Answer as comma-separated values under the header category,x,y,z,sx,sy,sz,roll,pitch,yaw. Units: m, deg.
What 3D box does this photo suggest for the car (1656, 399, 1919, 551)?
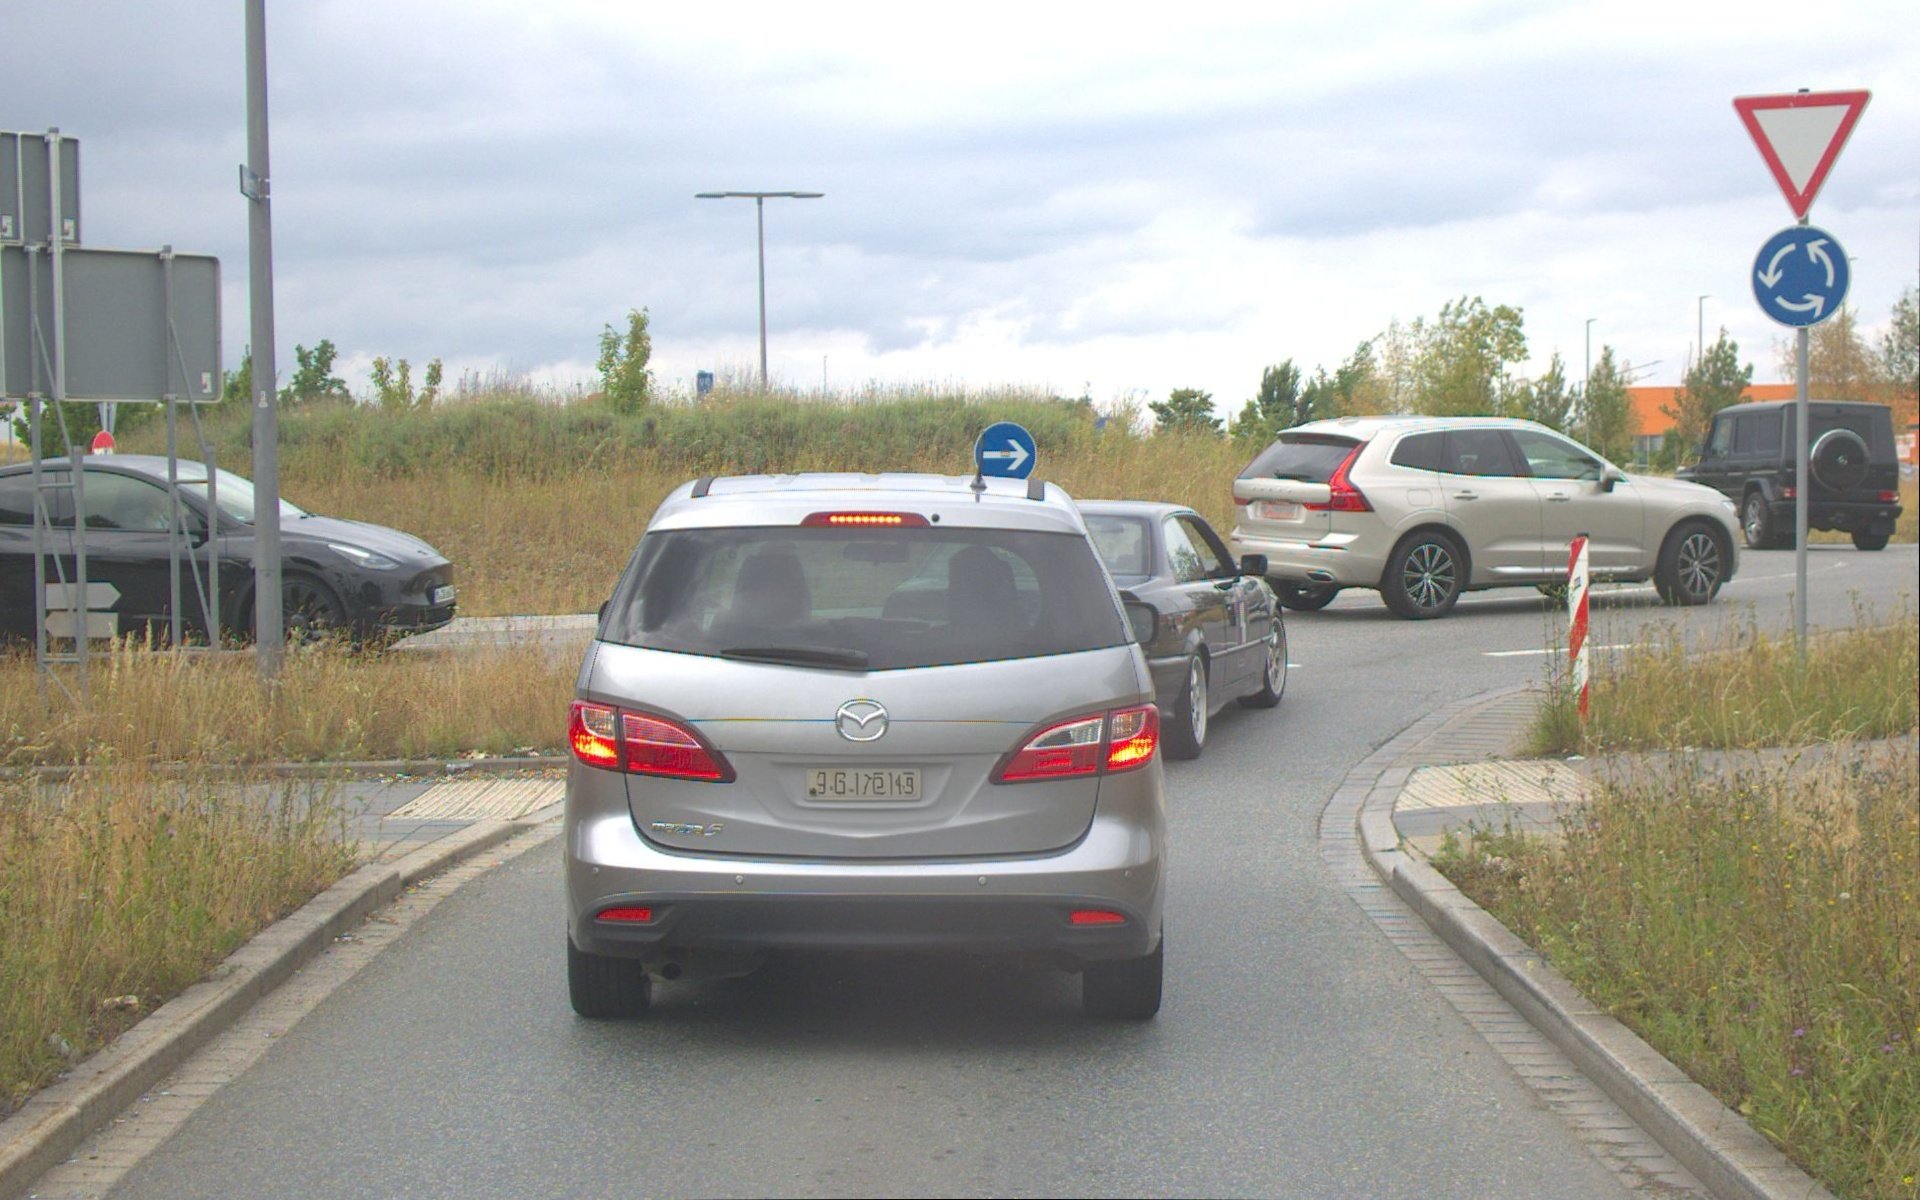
category,x,y,z,sx,sy,sz,roll,pitch,yaw
car,11.229,-1.753,46.772,2.077,1.880,4.776,-2,4,-6

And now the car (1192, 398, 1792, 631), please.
category,x,y,z,sx,sy,sz,roll,pitch,yaw
car,4.556,-0.787,29.348,4.758,1.732,1.945,-3,4,-25

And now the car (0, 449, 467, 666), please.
category,x,y,z,sx,sy,sz,roll,pitch,yaw
car,-6.399,-0.328,26.461,4.760,1.493,1.944,-1,4,7

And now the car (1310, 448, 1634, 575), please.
category,x,y,z,sx,sy,sz,roll,pitch,yaw
car,8.139,-1.442,54.945,4.771,1.880,2.079,2,5,43

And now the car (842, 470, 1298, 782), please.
category,x,y,z,sx,sy,sz,roll,pitch,yaw
car,0.728,0.052,19.366,1.739,1.398,3.996,1,4,14

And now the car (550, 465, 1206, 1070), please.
category,x,y,z,sx,sy,sz,roll,pitch,yaw
car,-0.251,0.374,11.207,1.738,1.593,3.998,1,2,-1
